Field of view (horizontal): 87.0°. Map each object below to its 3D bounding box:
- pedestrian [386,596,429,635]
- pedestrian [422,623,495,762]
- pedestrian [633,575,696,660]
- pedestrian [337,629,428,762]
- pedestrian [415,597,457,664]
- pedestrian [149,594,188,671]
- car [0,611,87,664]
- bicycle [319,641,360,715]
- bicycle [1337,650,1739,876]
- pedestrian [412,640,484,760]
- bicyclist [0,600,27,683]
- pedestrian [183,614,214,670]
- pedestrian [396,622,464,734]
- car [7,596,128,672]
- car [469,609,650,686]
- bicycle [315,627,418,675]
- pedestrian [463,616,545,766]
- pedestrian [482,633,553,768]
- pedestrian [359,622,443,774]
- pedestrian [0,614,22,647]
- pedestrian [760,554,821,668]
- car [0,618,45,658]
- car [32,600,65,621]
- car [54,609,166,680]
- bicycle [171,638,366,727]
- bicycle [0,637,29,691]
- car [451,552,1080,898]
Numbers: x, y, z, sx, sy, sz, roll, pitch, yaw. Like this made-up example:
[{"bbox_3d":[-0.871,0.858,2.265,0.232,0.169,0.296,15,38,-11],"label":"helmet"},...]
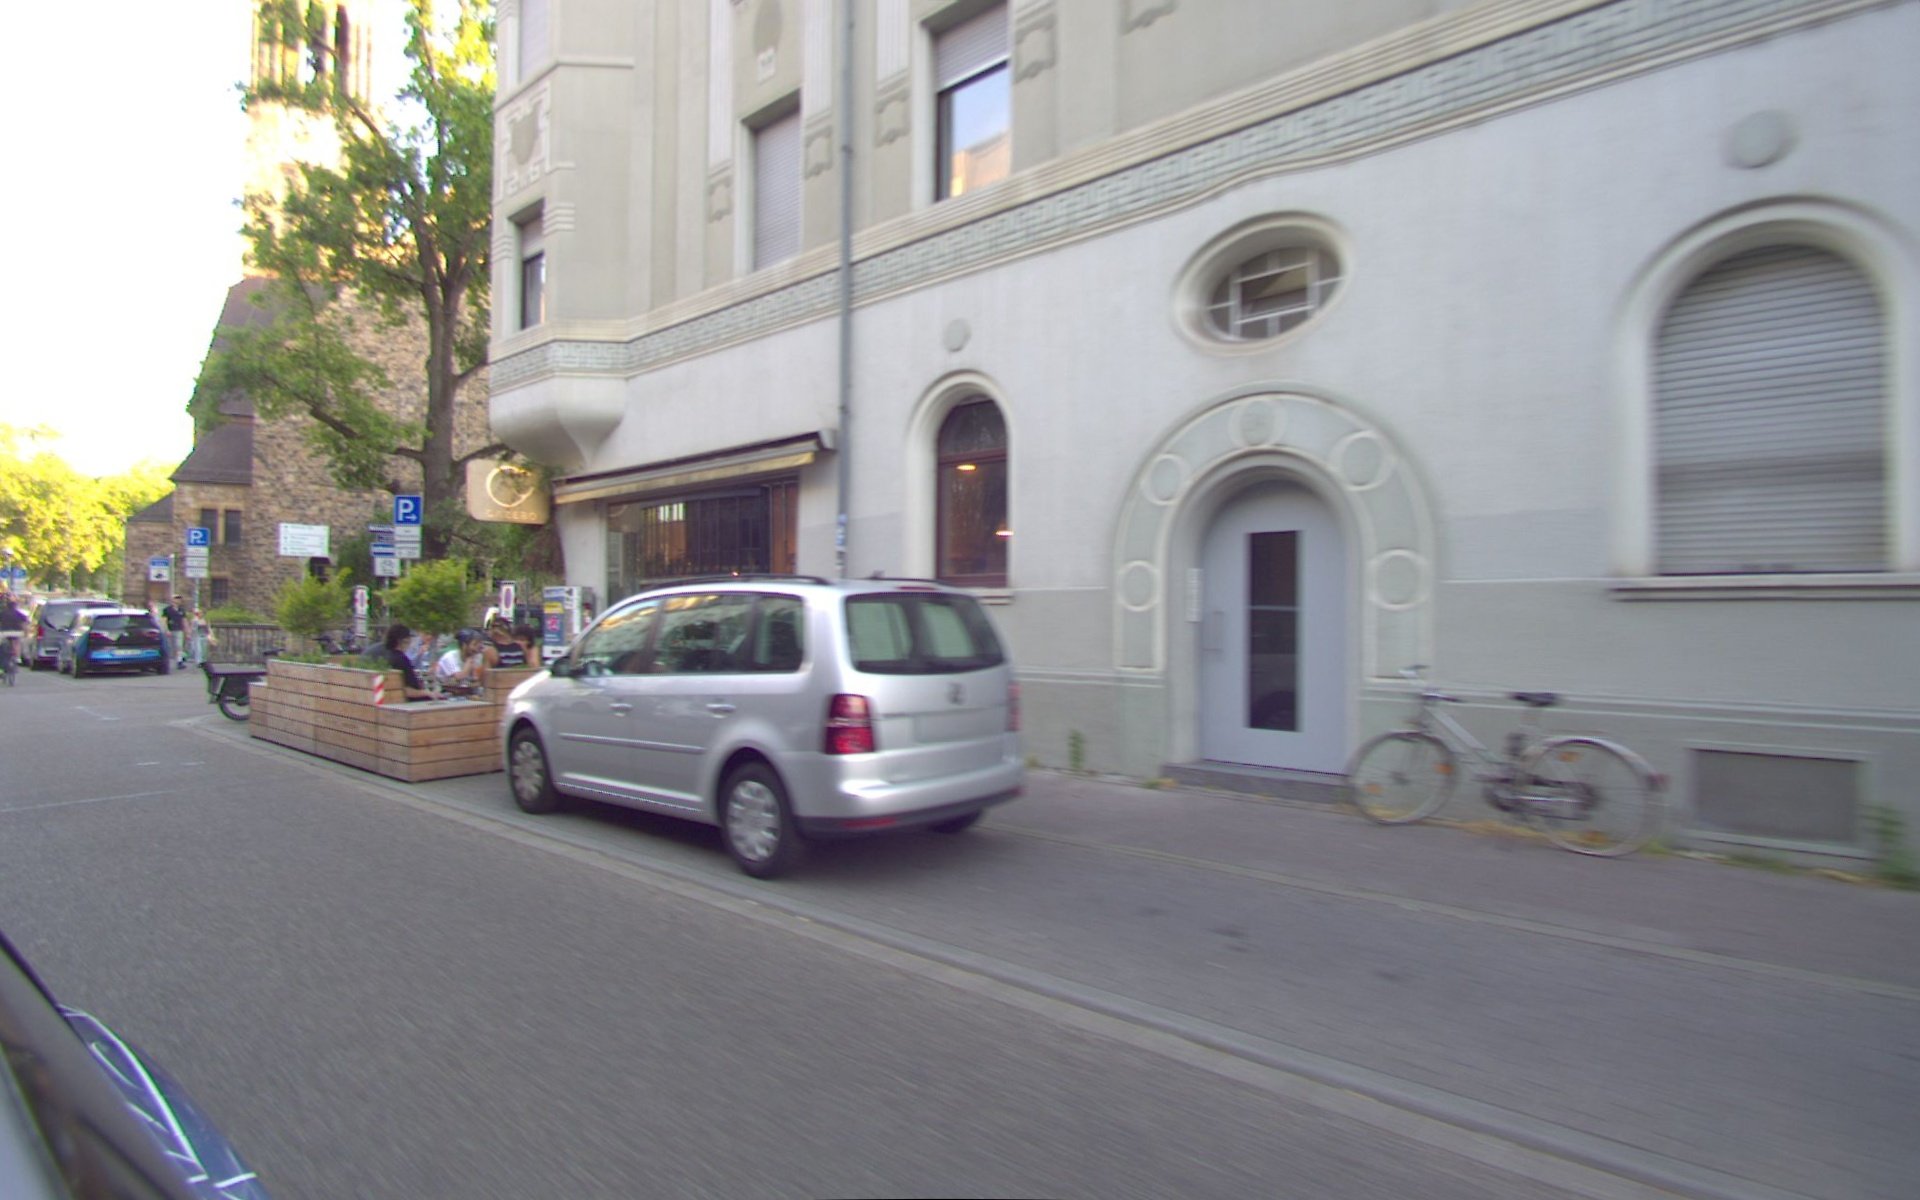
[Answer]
[{"bbox_3d":[-14.252,0.400,26.099,0.836,0.988,0.699,-1,-2,40],"label":"pedestrian"},{"bbox_3d":[-5.134,0.923,10.362,0.610,1.360,0.463,-1,-2,40],"label":"pedestrian"},{"bbox_3d":[-4.202,0.248,14.396,0.747,1.162,0.551,-1,-2,41],"label":"pedestrian"},{"bbox_3d":[-6.098,0.974,10.686,0.770,1.335,0.603,-1,-2,40],"label":"pedestrian"},{"bbox_3d":[-13.787,0.797,26.635,0.836,1.734,0.699,-1,-2,40],"label":"pedestrian"},{"bbox_3d":[-20.214,0.826,25.841,0.802,1.920,0.576,-1,-2,38],"label":"pedestrian"},{"bbox_3d":[-29.683,1.176,32.448,4.465,1.604,1.852,-1,-2,40],"label":"car"},{"bbox_3d":[-9.137,1.119,14.885,0.417,1.020,1.722,1,-3,-35],"label":"bicycle"},{"bbox_3d":[3.388,0.882,6.101,2.029,1.104,0.554,-1,-1,42],"label":"bicycle"},{"bbox_3d":[-6.007,1.149,11.873,0.705,1.335,0.531,-1,-2,42],"label":"pedestrian"},{"bbox_3d":[-19.949,0.859,21.106,1.142,1.697,0.596,-1,-2,42],"label":"bicyclist"},{"bbox_3d":[-19.822,1.081,26.333,0.659,1.416,0.526,-1,-1,42],"label":"pedestrian"},{"bbox_3d":[-6.587,0.942,12.583,0.705,1.335,0.531,-1,-2,42],"label":"pedestrian"},{"bbox_3d":[-24.488,0.909,27.688,5.289,1.881,1.972,-1,-2,43],"label":"car"},{"bbox_3d":[-10.341,1.207,26.329,1.892,1.858,3.941,-1,-3,45],"label":"car"},{"bbox_3d":[-14.658,1.241,25.032,0.555,1.142,2.116,-1,-2,42],"label":"bicycle"},{"bbox_3d":[-4.302,0.830,9.558,0.539,1.360,0.511,-1,-2,39],"label":"pedestrian"},{"bbox_3d":[-4.682,1.040,10.719,0.610,1.360,0.463,-1,-2,40],"label":"pedestrian"},{"bbox_3d":[-5.243,0.891,9.497,0.668,1.360,0.479,-1,-2,40],"label":"pedestrian"},{"bbox_3d":[-50.571,1.602,53.878,0.689,1.738,0.708,-1,-2,32],"label":"pedestrian"},{"bbox_3d":[-2.081,0.139,12.420,0.518,1.360,0.532,-1,-2,42],"label":"pedestrian"},{"bbox_3d":[-35.591,1.394,37.753,4.316,1.446,1.763,-1,-2,43],"label":"car"},{"bbox_3d":[-90.609,1.087,100.630,1.837,2.029,3.820,2,-2,-34],"label":"car"},{"bbox_3d":[-20.418,1.032,24.255,4.005,1.567,1.622,-1,-2,44],"label":"car"},{"bbox_3d":[-9.153,1.070,13.495,2.080,1.103,0.502,0,-2,-24],"label":"bicycle"},{"bbox_3d":[-19.954,1.315,21.098,1.903,1.048,0.608,-1,-2,42],"label":"bicycle"},{"bbox_3d":[-1.524,0.631,6.876,4.312,1.603,1.973,-1,-2,41],"label":"car"}]
